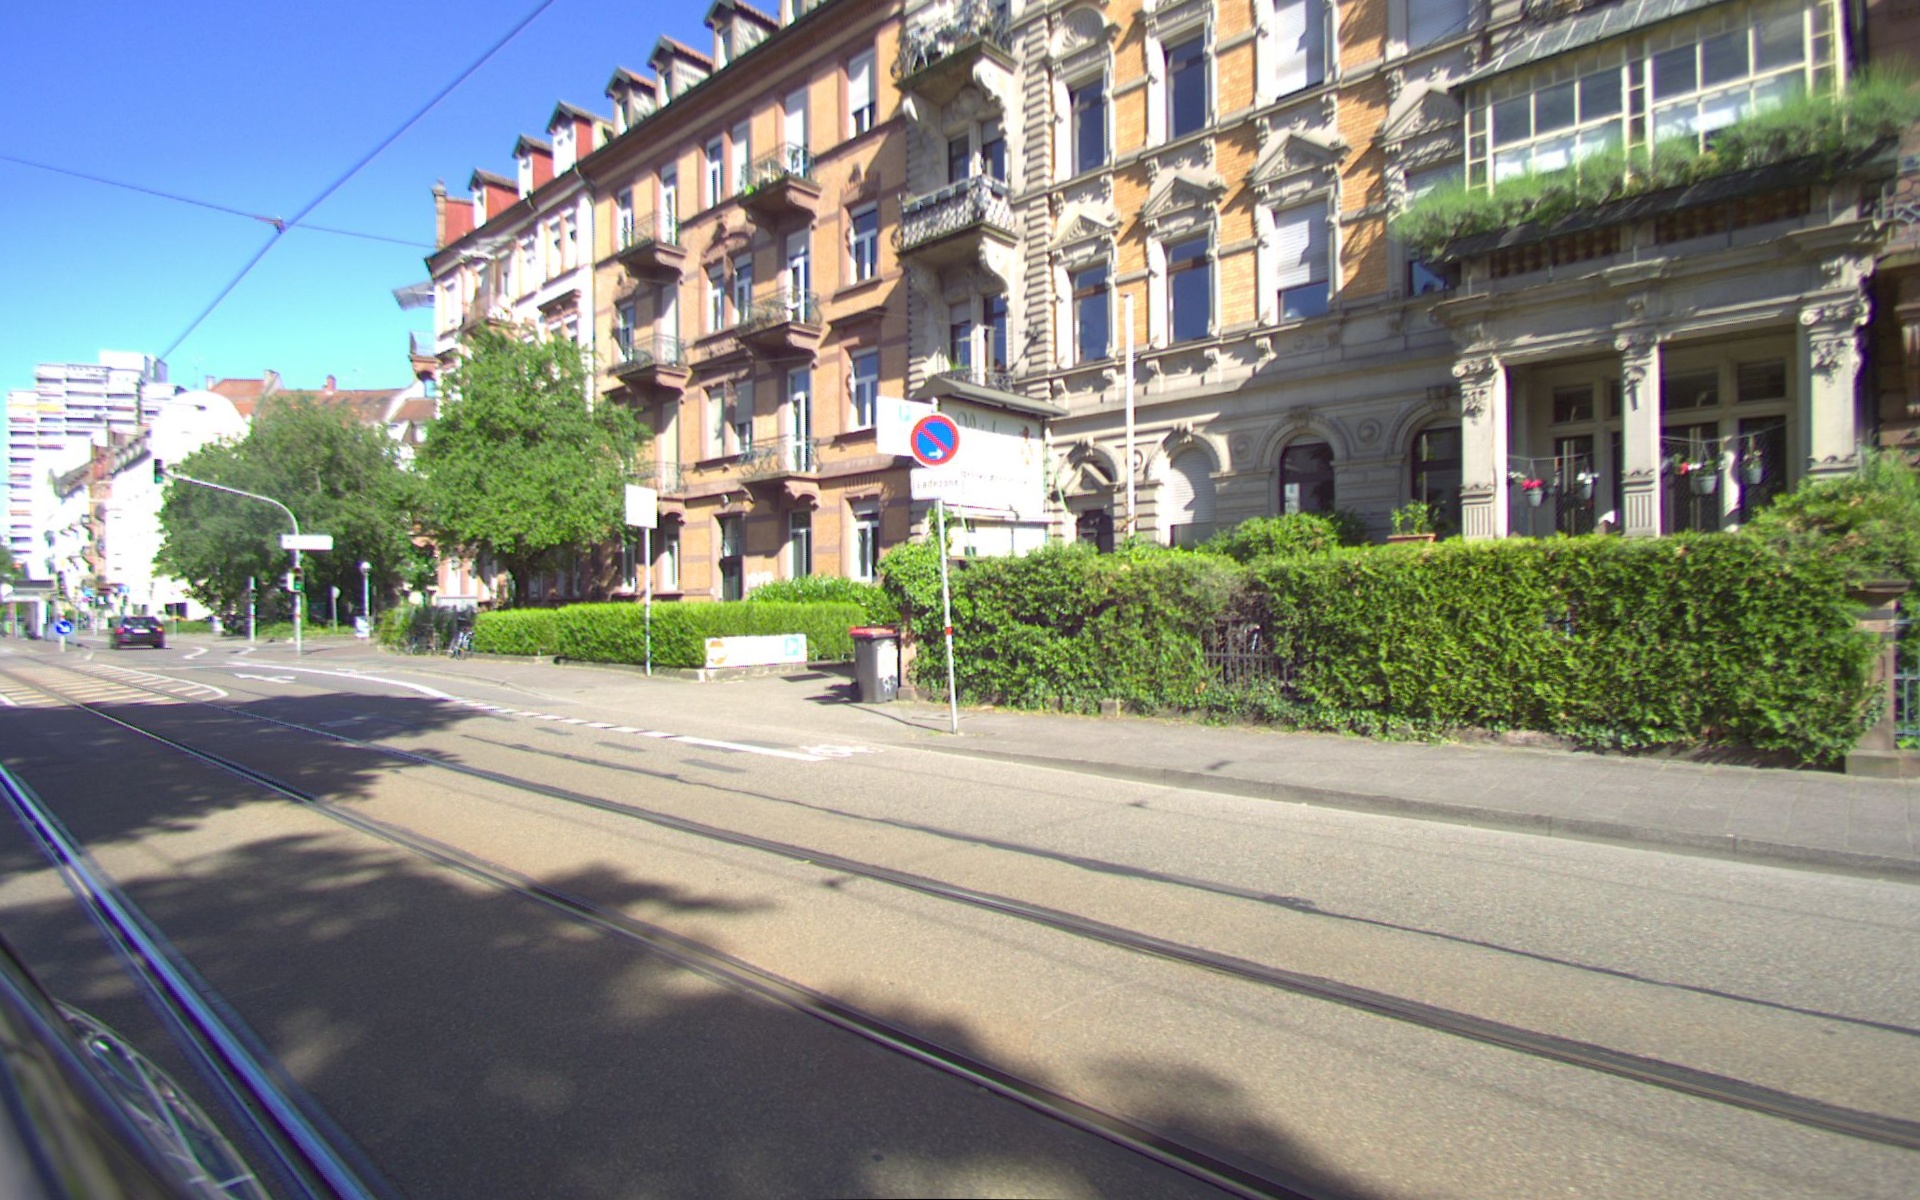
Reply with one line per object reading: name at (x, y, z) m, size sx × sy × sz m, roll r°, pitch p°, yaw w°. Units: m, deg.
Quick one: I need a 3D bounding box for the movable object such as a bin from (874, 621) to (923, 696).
movable object such as a bin at (-0.943, 0.872, 15.407) m, size 0.541 × 1.094 × 0.474 m, roll -1°, pitch 1°, yaw 44°

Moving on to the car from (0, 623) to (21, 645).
car at (-74.942, 2.649, 79.097) m, size 4.263 × 1.630 × 1.877 m, roll -1°, pitch -2°, yaw 41°

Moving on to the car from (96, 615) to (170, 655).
car at (-36.359, 1.503, 44.469) m, size 4.967 × 1.529 × 1.812 m, roll -1°, pitch 2°, yaw 43°

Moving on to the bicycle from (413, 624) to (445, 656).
bicycle at (-16.342, 1.229, 31.114) m, size 0.338 × 0.933 × 1.945 m, roll -3°, pitch 1°, yaw -43°

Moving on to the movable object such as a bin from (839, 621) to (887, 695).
movable object such as a bin at (-1.518, 0.894, 15.826) m, size 0.541 × 1.094 × 0.474 m, roll -1°, pitch 1°, yaw 44°

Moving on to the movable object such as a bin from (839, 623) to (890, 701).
movable object such as a bin at (-1.405, 0.901, 14.900) m, size 0.541 × 1.094 × 0.474 m, roll -1°, pitch 1°, yaw 44°

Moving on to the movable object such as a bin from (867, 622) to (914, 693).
movable object such as a bin at (-1.115, 0.904, 16.230) m, size 0.541 × 1.094 × 0.474 m, roll -1°, pitch 1°, yaw 44°

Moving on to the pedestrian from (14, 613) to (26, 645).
pedestrian at (-54.630, 1.678, 58.825) m, size 0.673 × 1.798 × 0.460 m, roll -1°, pitch 0°, yaw 42°

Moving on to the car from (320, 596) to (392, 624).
car at (-41.499, 0.654, 69.585) m, size 3.966 × 1.709 × 1.693 m, roll -3°, pitch 1°, yaw -40°

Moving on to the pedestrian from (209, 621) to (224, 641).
pedestrian at (-49.343, 2.028, 67.172) m, size 0.724 × 1.291 × 0.650 m, roll -1°, pitch 1°, yaw 43°

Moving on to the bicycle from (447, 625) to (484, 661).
bicycle at (-13.619, 1.158, 27.838) m, size 0.338 × 0.933 × 1.945 m, roll -3°, pitch 1°, yaw -43°
